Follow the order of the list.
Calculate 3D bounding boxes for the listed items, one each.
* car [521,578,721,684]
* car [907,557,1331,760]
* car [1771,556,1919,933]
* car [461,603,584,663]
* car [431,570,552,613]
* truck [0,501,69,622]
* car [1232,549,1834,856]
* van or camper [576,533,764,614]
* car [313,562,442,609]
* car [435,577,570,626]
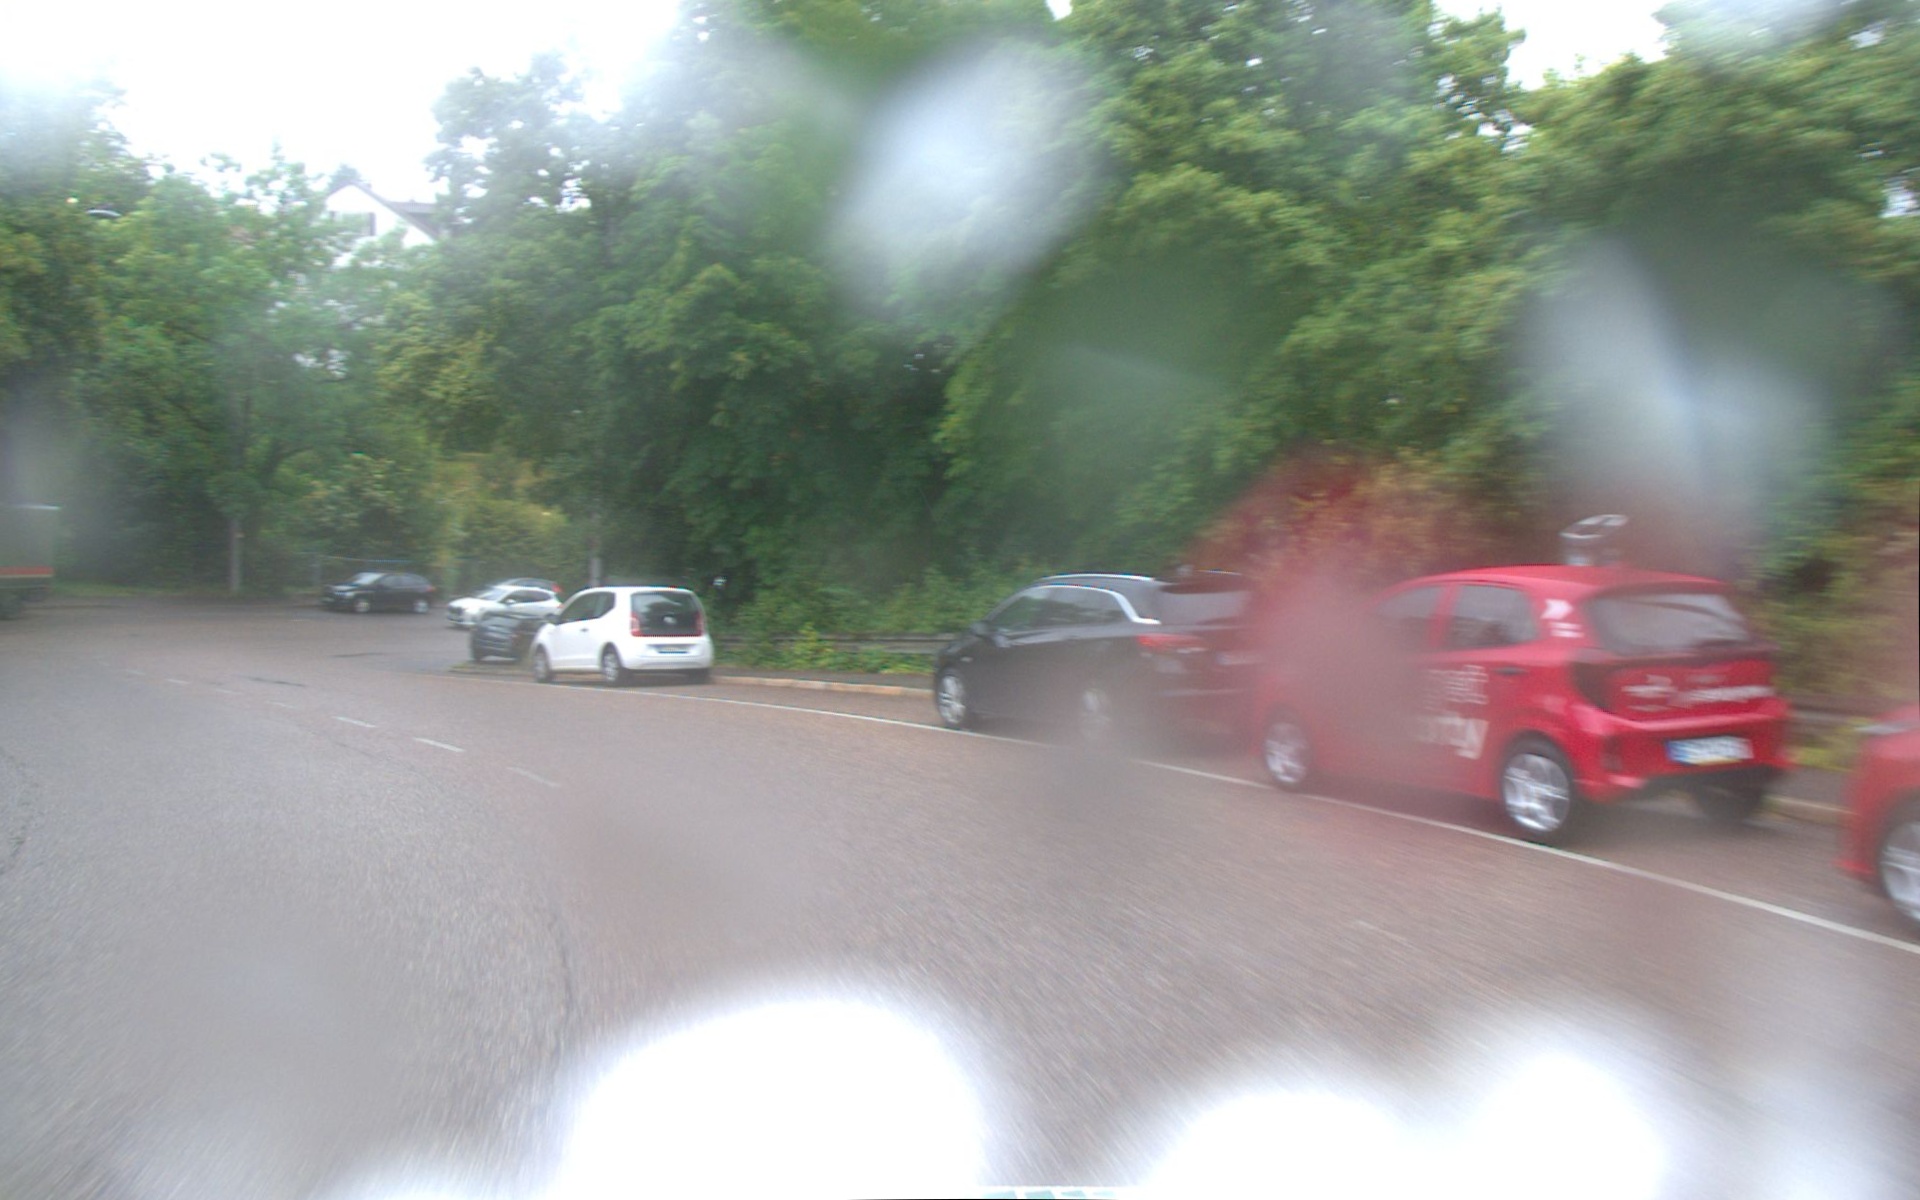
[{"bbox_3d":[-5.335,0.461,25.760,1.575,1.528,3.615,1,-1,-39],"label":"car"},{"bbox_3d":[1.257,0.416,15.229,1.698,1.540,4.555,-2,2,-27],"label":"car"},{"bbox_3d":[4.927,0.565,5.716,1.616,1.486,3.786,-2,1,-19],"label":"car"},{"bbox_3d":[-12.645,0.935,48.026,1.615,1.490,4.036,6,1,13],"label":"car"},{"bbox_3d":[-18.590,-0.322,65.709,4.278,1.378,1.733,3,5,-44],"label":"car"},{"bbox_3d":[-25.959,-1.072,42.922,1.992,3.156,6.612,4,1,-1],"label":"truck"},{"bbox_3d":[3.371,0.473,10.432,1.538,1.539,3.649,-2,2,-24],"label":"car"},{"bbox_3d":[-12.324,-1.110,70.629,7.568,2.981,2.178,2,5,-34],"label":"van or camper"},{"bbox_3d":[-21.493,-0.528,61.184,1.747,1.490,4.302,7,3,32],"label":"car"},{"bbox_3d":[-16.369,0.072,59.348,1.772,1.597,4.430,3,0,41],"label":"car"}]
